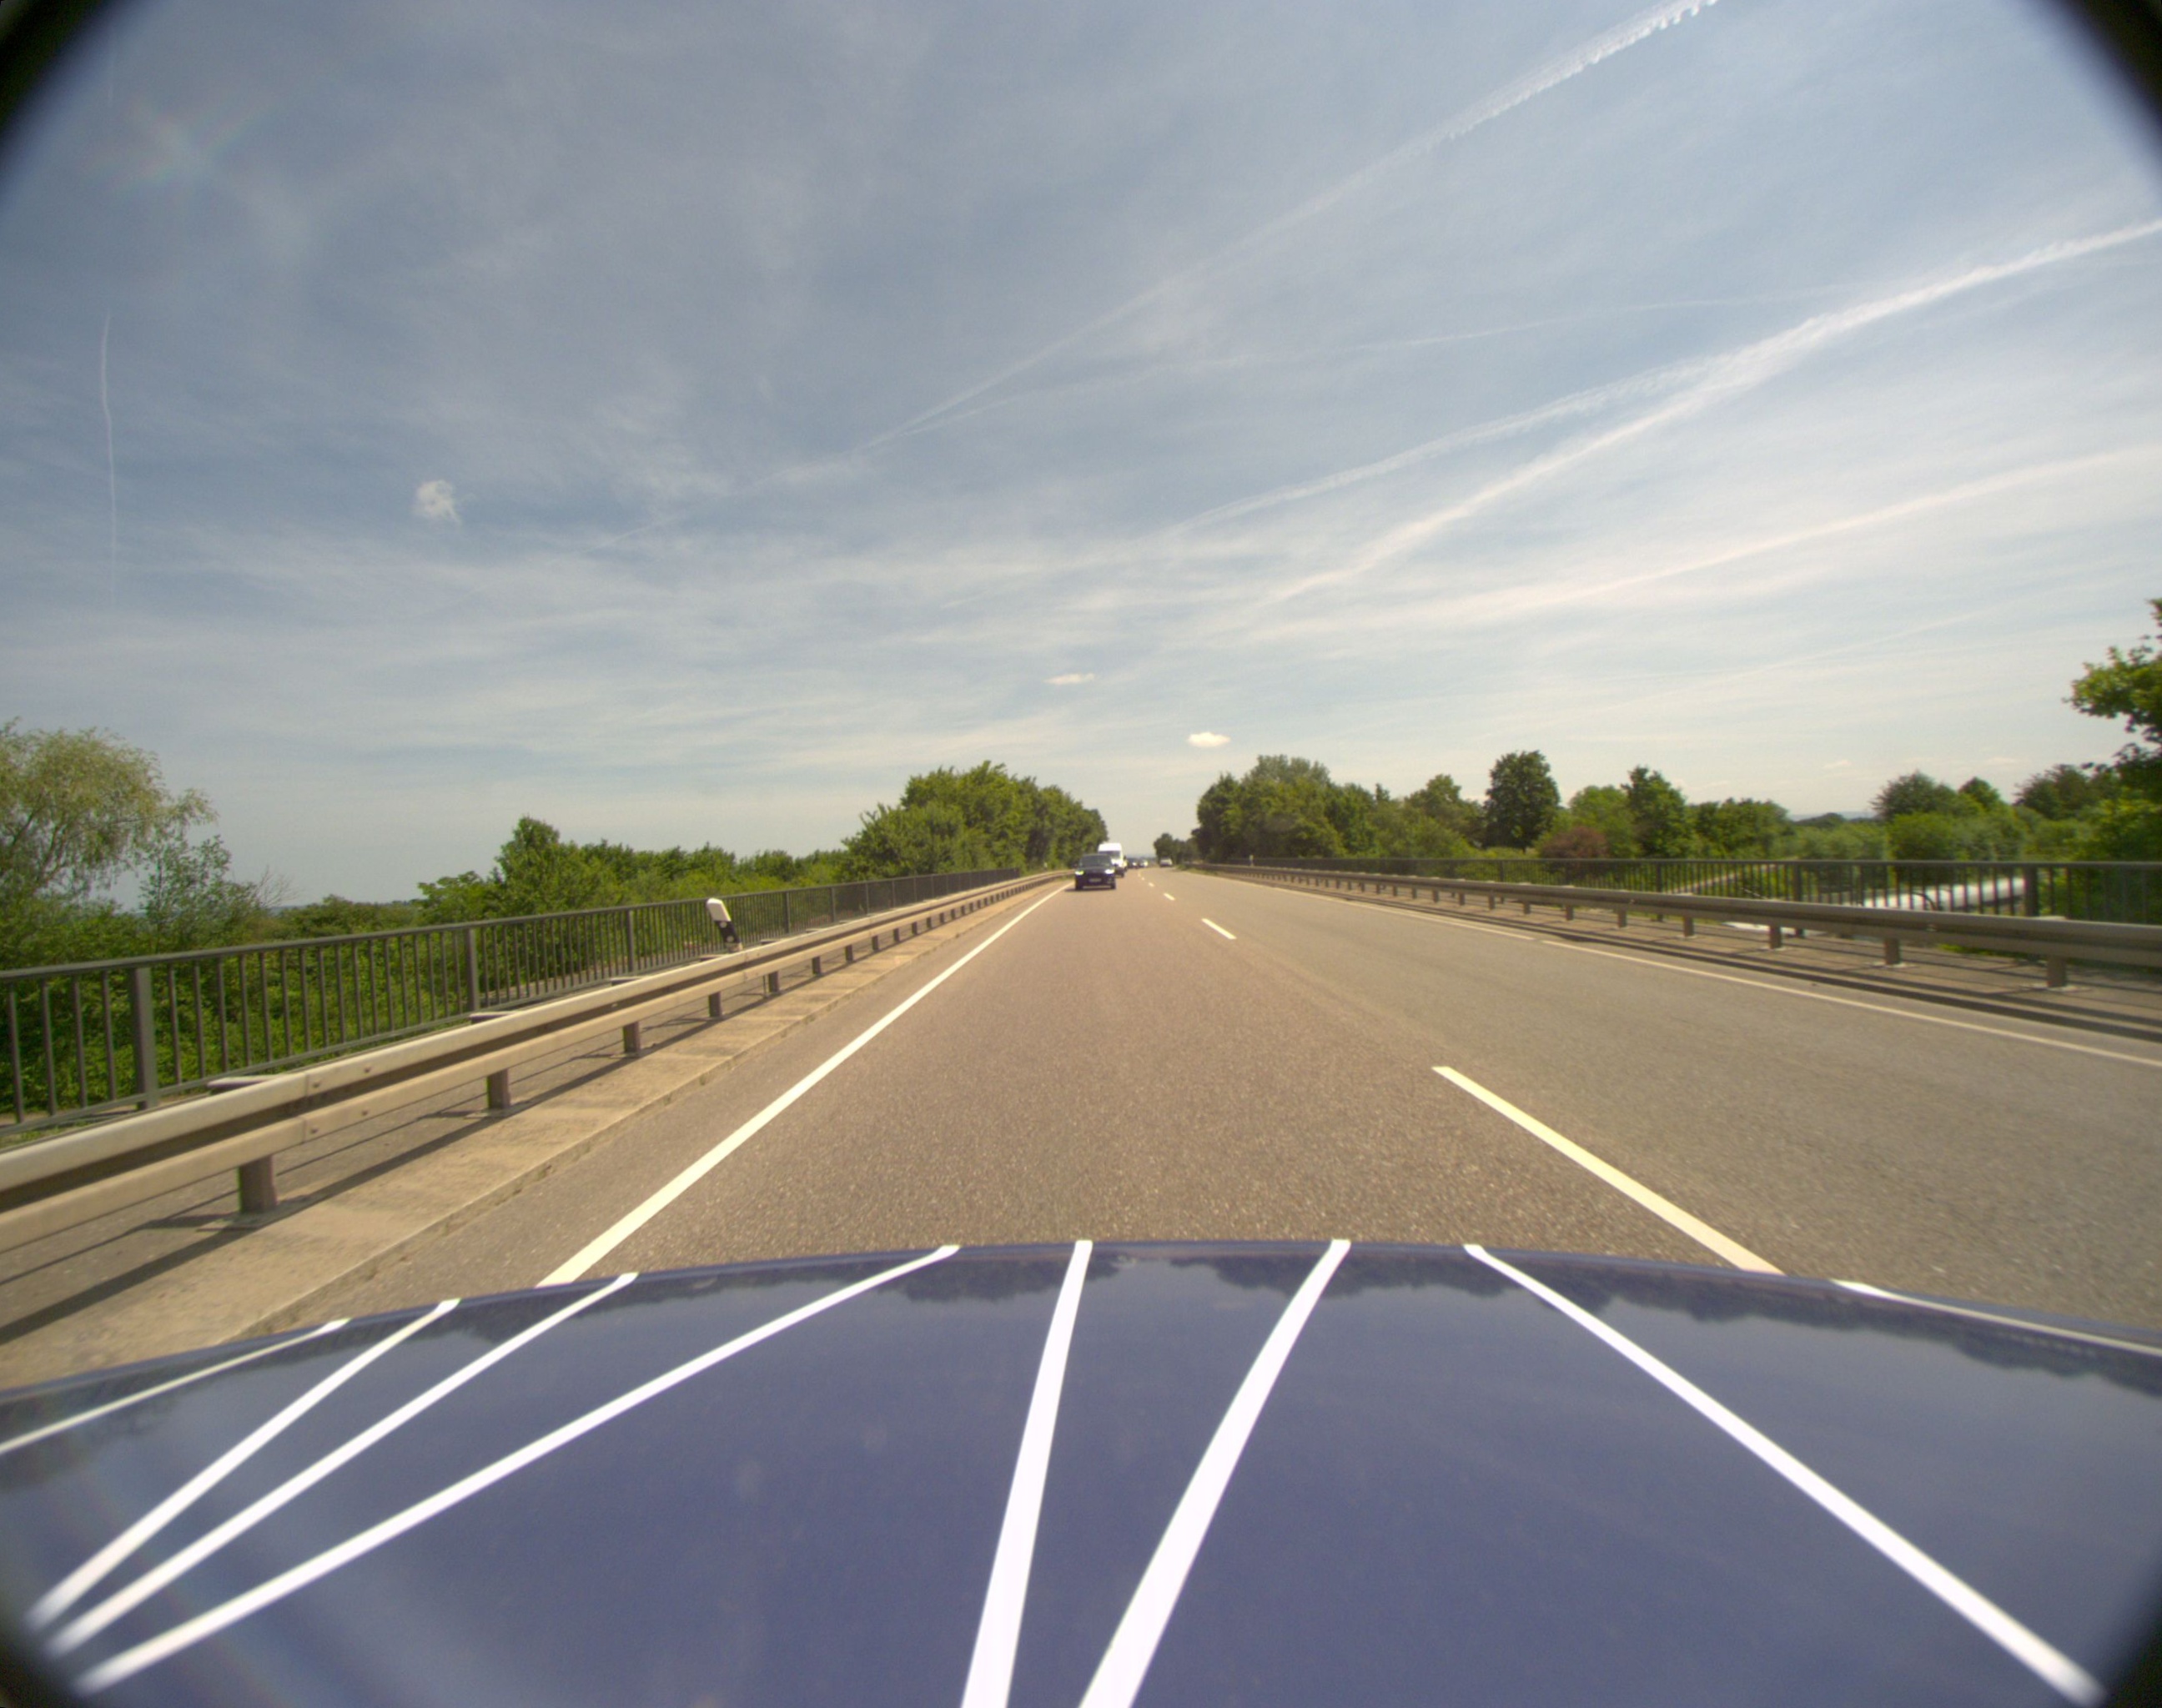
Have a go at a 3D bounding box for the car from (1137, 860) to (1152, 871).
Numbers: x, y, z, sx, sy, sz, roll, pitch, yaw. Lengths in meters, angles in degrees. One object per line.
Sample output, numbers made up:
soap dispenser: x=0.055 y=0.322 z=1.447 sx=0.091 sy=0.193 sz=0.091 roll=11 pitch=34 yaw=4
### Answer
car: x=10.166 y=1.878 z=121.920 sx=2.037 sy=1.641 sz=4.748 roll=-2 pitch=0 yaw=9

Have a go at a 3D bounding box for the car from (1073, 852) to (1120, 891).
car: x=0.803 y=0.766 z=36.207 sx=2.039 sy=1.691 sz=5.513 roll=-2 pitch=0 yaw=2

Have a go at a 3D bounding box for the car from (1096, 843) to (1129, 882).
car: x=2.466 y=0.593 z=57.543 sx=2.225 sy=2.617 sz=5.753 roll=-3 pitch=1 yaw=4

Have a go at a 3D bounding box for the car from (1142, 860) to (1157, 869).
car: x=12.955 y=2.021 z=143.566 sx=2.037 sy=1.641 sz=4.749 roll=-2 pitch=0 yaw=13

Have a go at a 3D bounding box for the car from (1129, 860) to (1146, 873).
car: x=7.911 y=1.694 z=106.037 sx=2.038 sy=1.641 sz=4.747 roll=-2 pitch=0 yaw=8

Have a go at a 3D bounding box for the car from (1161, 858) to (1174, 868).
car: x=13.920 y=1.462 z=121.886 sx=1.883 sy=1.502 sz=4.547 roll=-2 pitch=0 yaw=8
